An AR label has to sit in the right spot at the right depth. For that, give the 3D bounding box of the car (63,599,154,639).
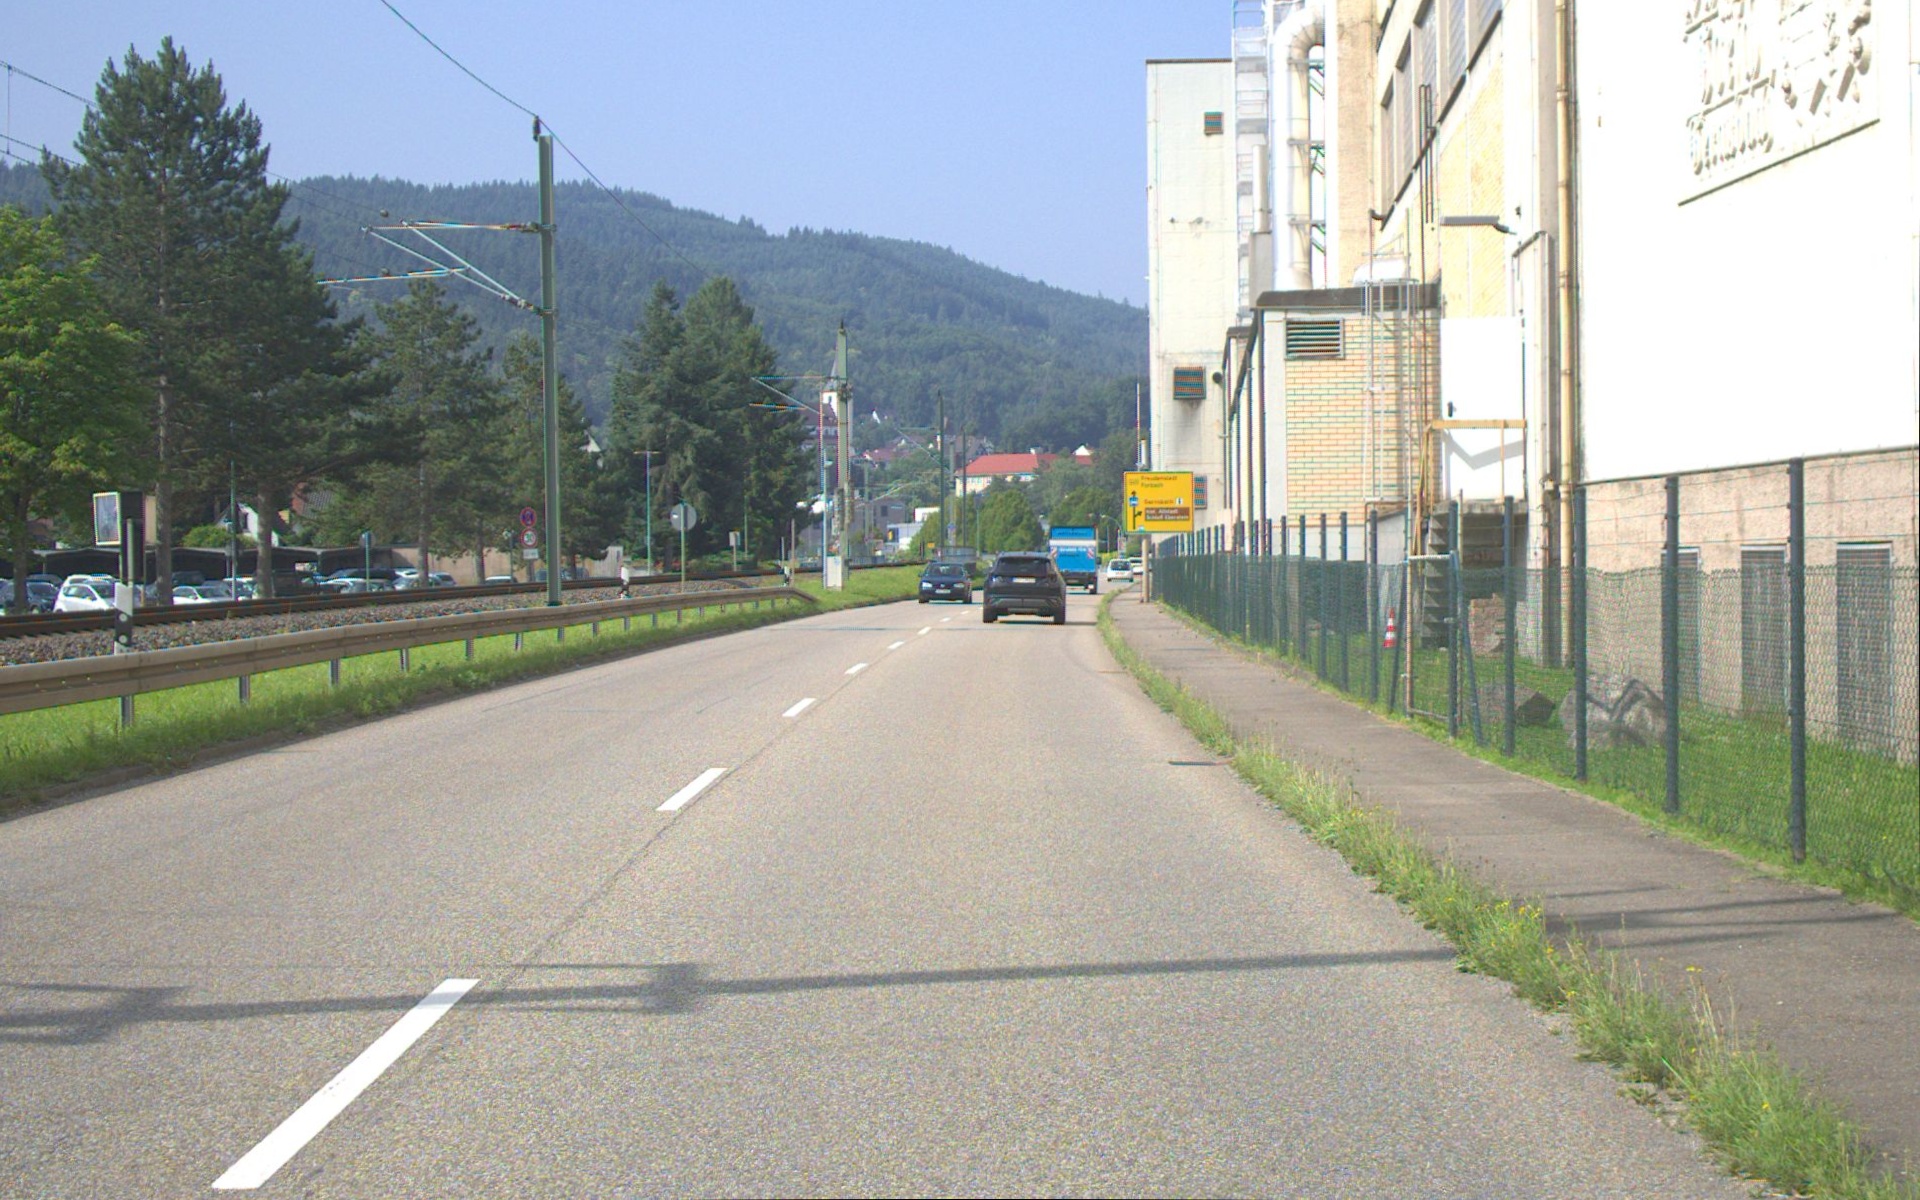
[{"bbox_3d":[-31.346,0.692,126.481,1.683,1.439,3.851,0,0,-40],"label":"car"}]

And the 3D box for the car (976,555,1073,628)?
[{"bbox_3d":[1.523,-0.201,79.614,1.920,1.634,3.999,0,0,6],"label":"car"}]

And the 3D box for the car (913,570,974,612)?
[{"bbox_3d":[-0.557,-0.304,118.730,1.764,1.398,4.119,0,0,4],"label":"car"}]

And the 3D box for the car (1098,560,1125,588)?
[{"bbox_3d":[9.854,-1.704,223.522,1.667,1.816,3.751,0,0,4],"label":"car"}]

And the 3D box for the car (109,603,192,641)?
[{"bbox_3d":[-32.542,0.883,138.116,1.683,1.501,3.851,0,0,-40],"label":"car"}]

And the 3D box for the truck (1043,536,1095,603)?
[{"bbox_3d":[4.955,-1.376,156.442,2.312,2.960,5.965,0,0,1],"label":"truck"}]
